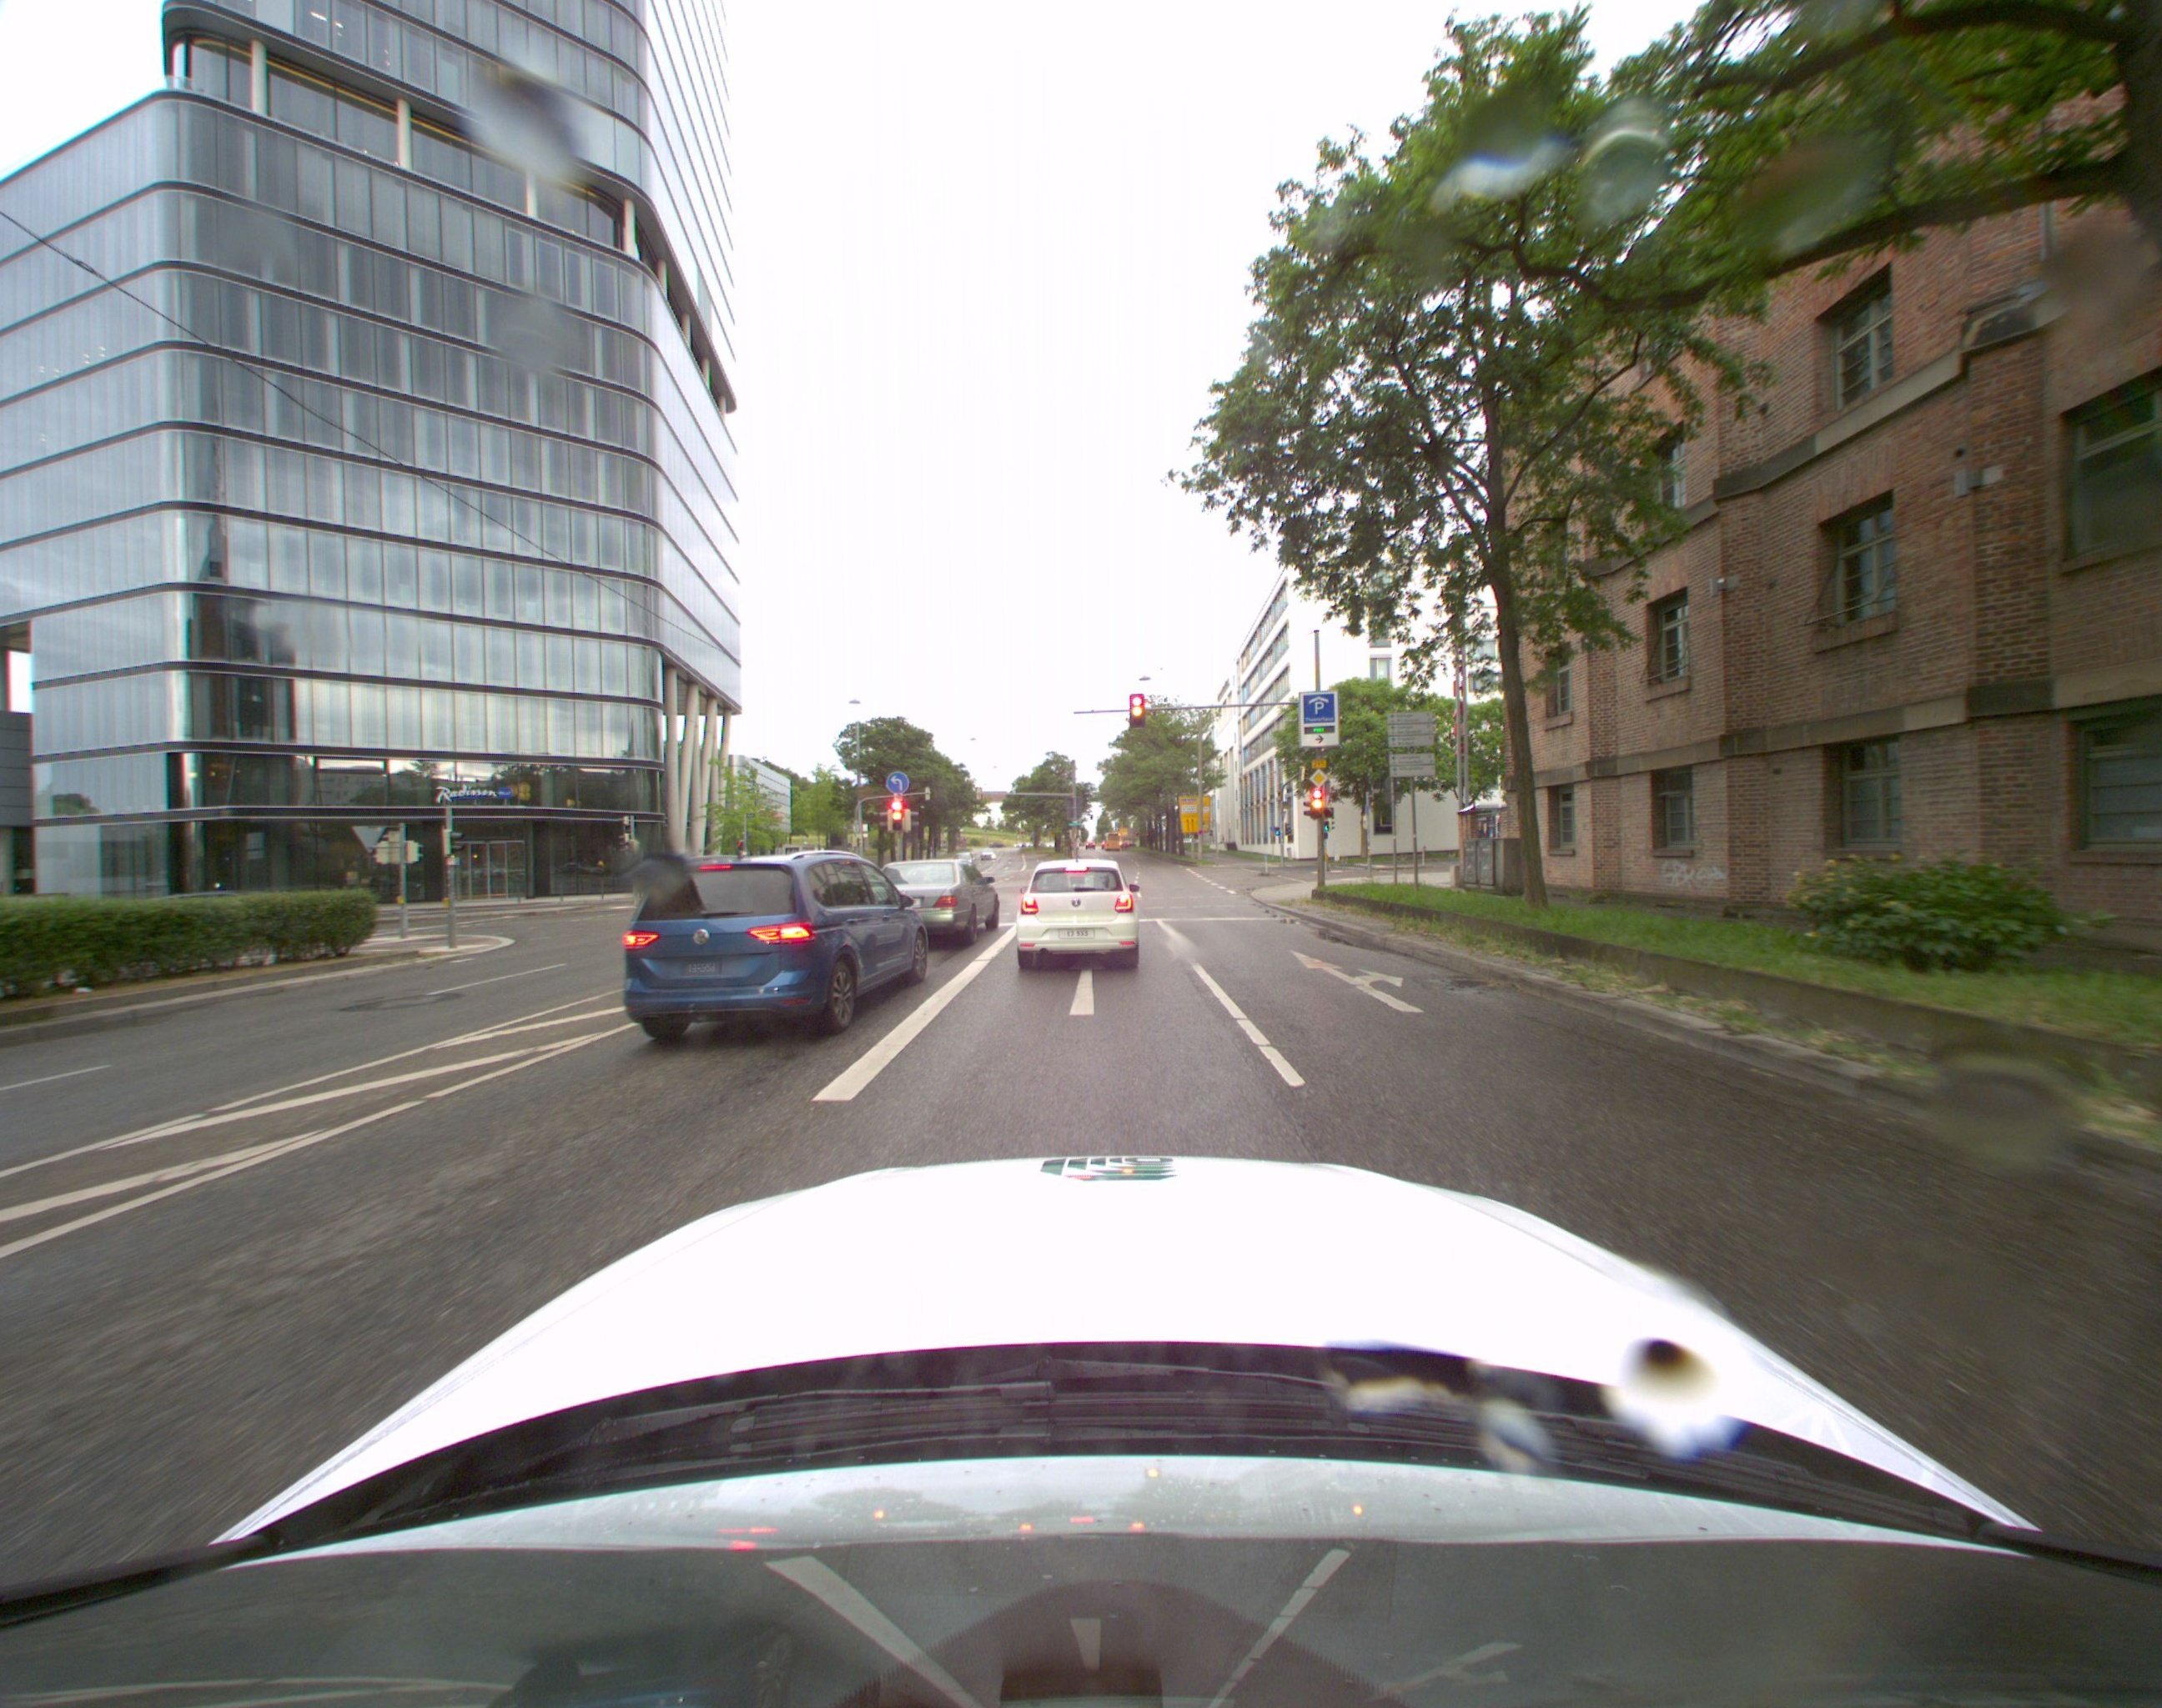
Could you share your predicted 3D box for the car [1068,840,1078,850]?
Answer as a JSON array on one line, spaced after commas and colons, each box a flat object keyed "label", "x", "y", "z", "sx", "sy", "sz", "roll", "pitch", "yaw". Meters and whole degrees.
[{"label": "car", "x": -1.507, "y": -1.695, "z": 157.463, "sx": 1.789, "sy": 1.741, "sz": 3.998, "roll": -2, "pitch": 0, "yaw": -1}]

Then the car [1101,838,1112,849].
[{"label": "car", "x": 4.854, "y": -2.019, "z": 156.788, "sx": 1.987, "sy": 2.013, "sz": 3.999, "roll": -2, "pitch": 0, "yaw": 0}]

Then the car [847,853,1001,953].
[{"label": "car", "x": -2.705, "y": 0.789, "z": 15.033, "sx": 1.839, "sy": 1.510, "sz": 4.051, "roll": -2, "pitch": 0, "yaw": 2}]

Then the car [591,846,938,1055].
[{"label": "car", "x": -2.895, "y": 0.764, "z": 8.580, "sx": 1.765, "sy": 1.596, "sz": 4.201, "roll": -2, "pitch": 0, "yaw": 3}]

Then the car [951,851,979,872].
[{"label": "car", "x": -9.001, "y": 0.562, "z": 63.350, "sx": 1.746, "sy": 1.520, "sz": 3.813, "roll": -3, "pitch": 1, "yaw": -3}]

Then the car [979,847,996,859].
[{"label": "car", "x": -12.087, "y": -0.133, "z": 105.452, "sx": 1.810, "sy": 1.411, "sz": 4.651, "roll": -3, "pitch": 1, "yaw": -3}]

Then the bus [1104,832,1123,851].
[{"label": "bus", "x": 5.684, "y": -2.260, "z": 143.394, "sx": 2.819, "sy": 3.266, "sz": 9.999, "roll": -1, "pitch": 1, "yaw": 0}]

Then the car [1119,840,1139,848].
[{"label": "car", "x": 9.269, "y": -1.946, "z": 155.646, "sx": 1.679, "sy": 1.515, "sz": 3.850, "roll": -2, "pitch": 0, "yaw": 45}]

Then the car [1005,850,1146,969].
[{"label": "car", "x": -0.028, "y": 0.708, "z": 12.463, "sx": 1.788, "sy": 1.502, "sz": 4.001, "roll": -1, "pitch": 0, "yaw": 1}]

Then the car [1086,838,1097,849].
[{"label": "car", "x": 1.947, "y": -1.976, "z": 155.877, "sx": 1.987, "sy": 2.013, "sz": 3.999, "roll": -2, "pitch": 0, "yaw": 0}]
